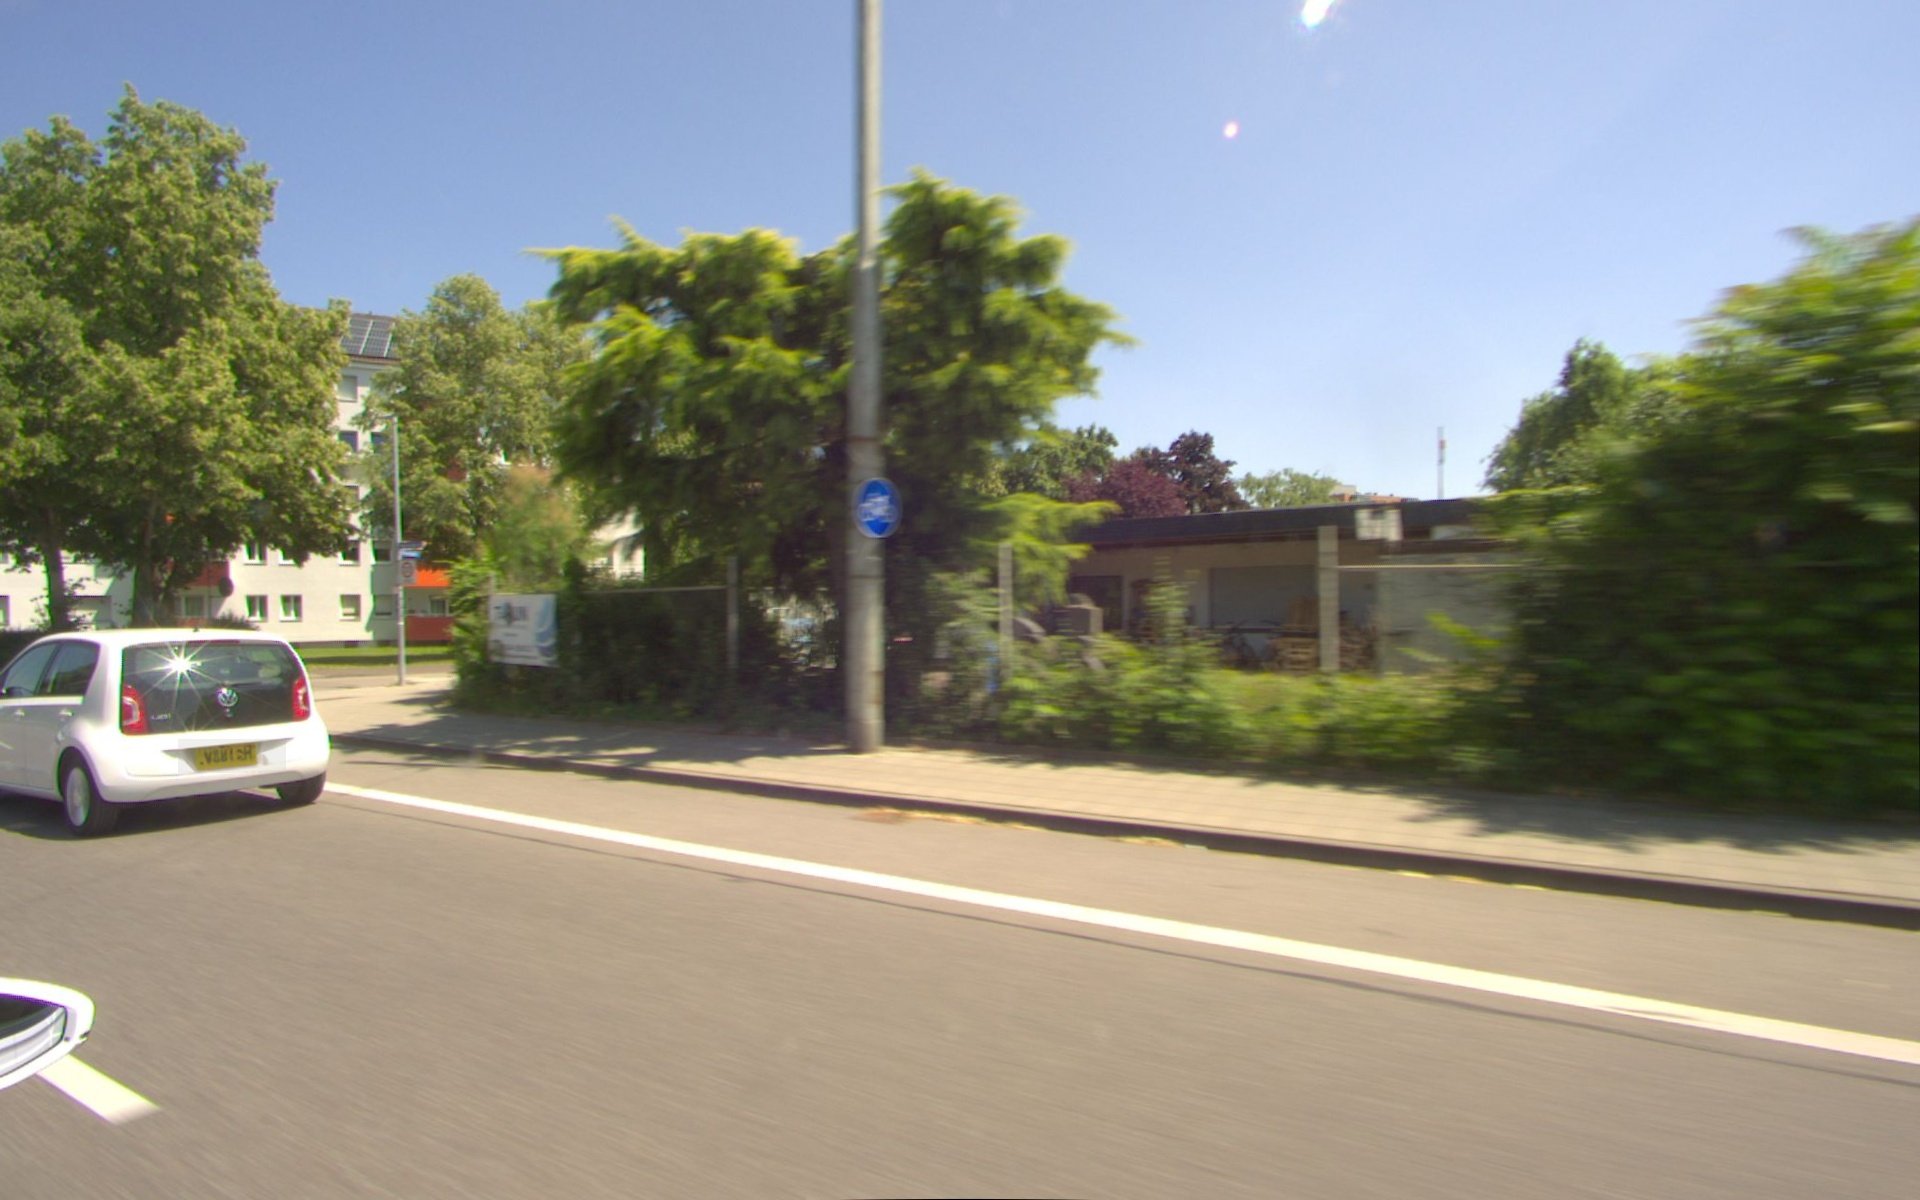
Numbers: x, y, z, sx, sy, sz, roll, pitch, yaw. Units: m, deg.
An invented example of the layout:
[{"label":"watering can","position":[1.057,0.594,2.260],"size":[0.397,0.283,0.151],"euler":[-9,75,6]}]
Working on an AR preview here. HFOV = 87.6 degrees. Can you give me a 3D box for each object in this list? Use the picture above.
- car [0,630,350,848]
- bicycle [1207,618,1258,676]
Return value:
[{"label":"car","position":[-6.938,1.012,8.493],"size":[3.384,1.466,1.608],"euler":[0,-2,31]},{"label":"bicycle","position":[5.927,1.023,21.914],"size":[0.647,1.183,2.486],"euler":[0,-2,5]}]
